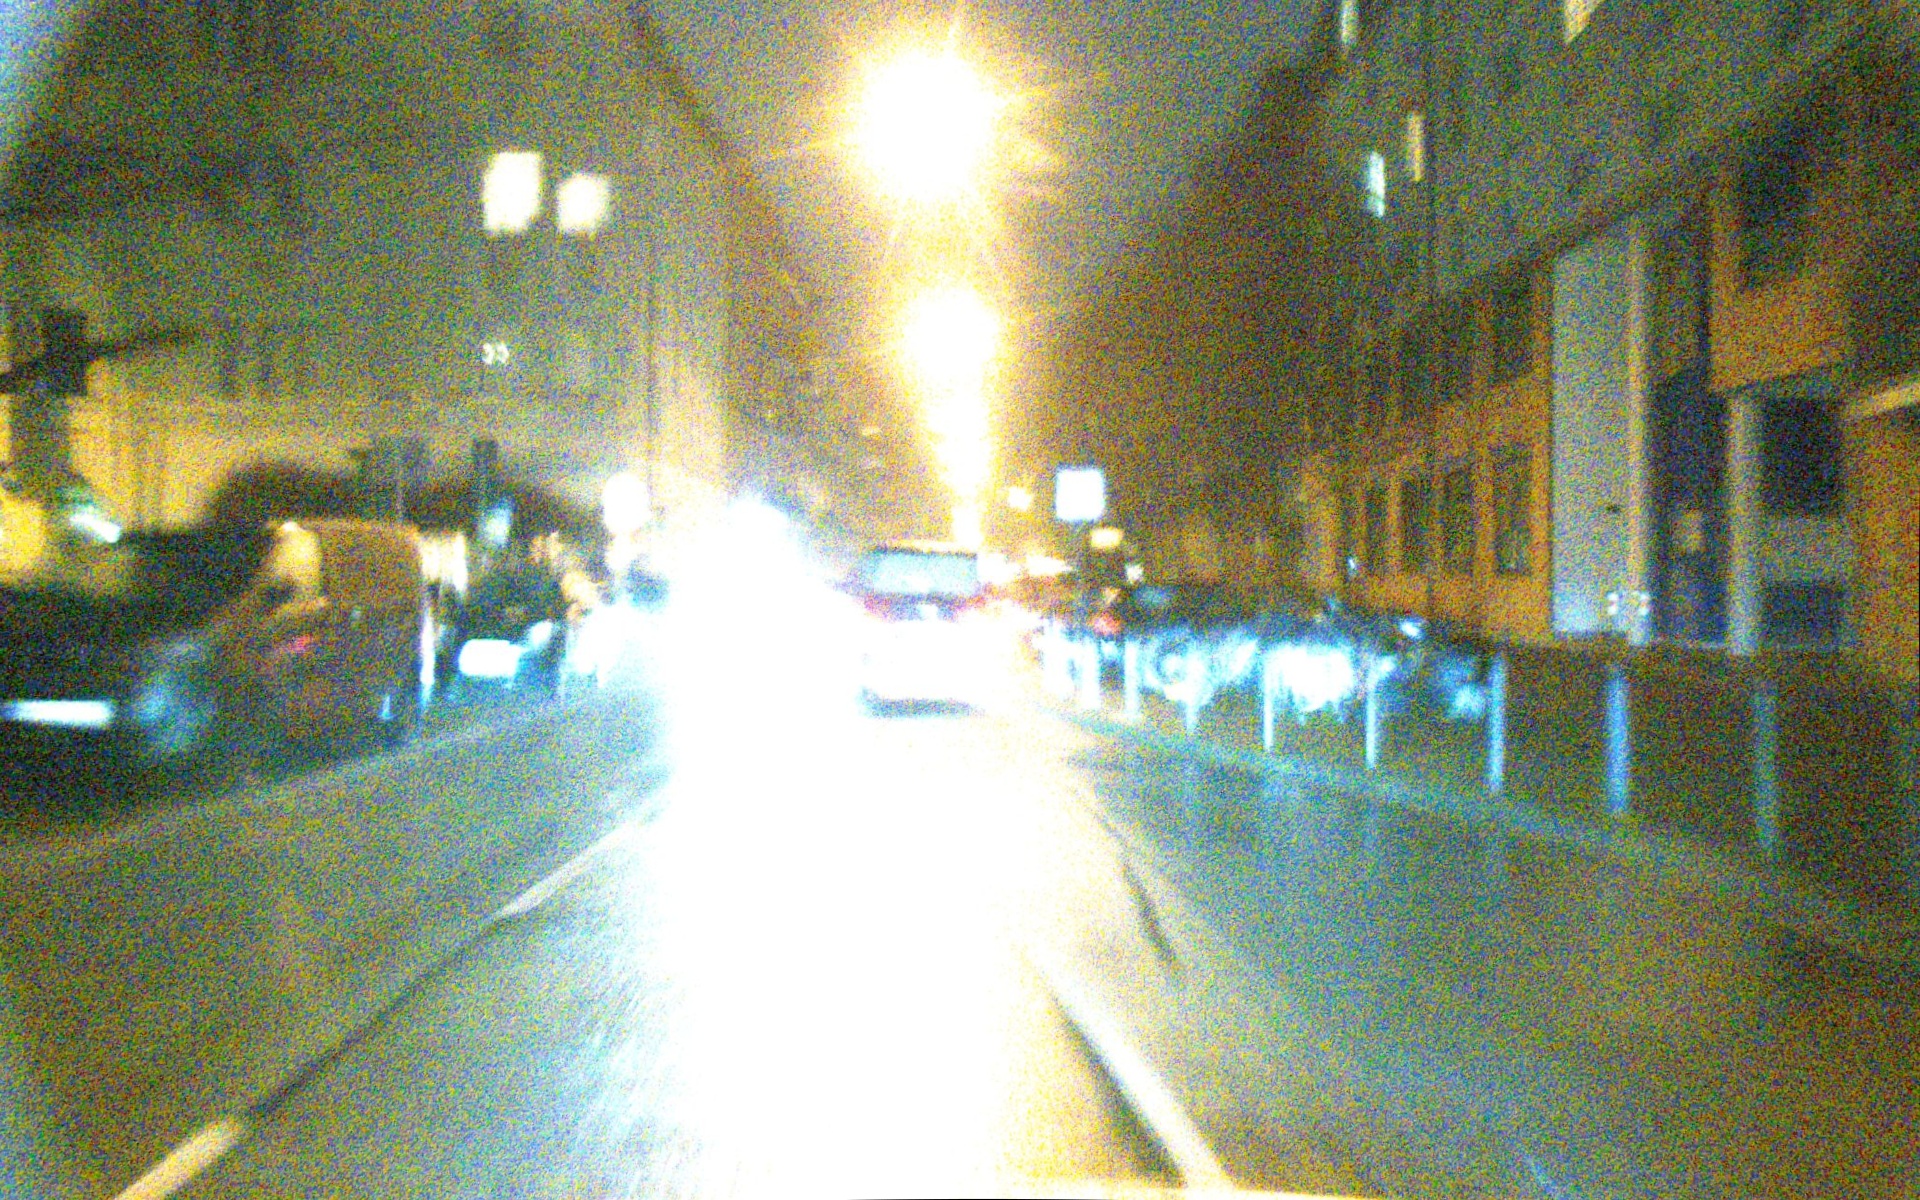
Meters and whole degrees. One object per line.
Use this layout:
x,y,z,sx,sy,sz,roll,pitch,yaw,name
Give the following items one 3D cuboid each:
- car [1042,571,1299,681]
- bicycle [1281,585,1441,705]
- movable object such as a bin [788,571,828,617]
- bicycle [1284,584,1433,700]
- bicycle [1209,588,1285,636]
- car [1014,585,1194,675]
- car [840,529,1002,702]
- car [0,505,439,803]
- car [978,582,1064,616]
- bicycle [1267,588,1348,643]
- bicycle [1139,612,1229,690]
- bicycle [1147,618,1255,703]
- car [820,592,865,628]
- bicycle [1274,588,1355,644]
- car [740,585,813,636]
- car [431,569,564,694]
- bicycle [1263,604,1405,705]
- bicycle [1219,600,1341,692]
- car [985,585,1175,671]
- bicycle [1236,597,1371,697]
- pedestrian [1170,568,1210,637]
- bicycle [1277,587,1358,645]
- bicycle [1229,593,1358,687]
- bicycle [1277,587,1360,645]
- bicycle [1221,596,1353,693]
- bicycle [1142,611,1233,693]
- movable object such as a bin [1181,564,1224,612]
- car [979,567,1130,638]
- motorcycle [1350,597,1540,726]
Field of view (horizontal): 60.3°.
3.270,0.375,25.642,3.654,1.549,1.644,-1,0,-25,car
4.325,0.482,17.896,1.629,1.255,0.385,-1,1,2,bicycle
-5.169,-0.213,56.292,1.183,1.485,1.107,2,0,2,movable object such as a bin
4.425,0.465,18.414,1.547,1.255,0.418,-1,1,2,bicycle
7.729,0.324,44.568,1.934,1.212,0.509,-2,0,-7,bicycle
2.698,0.551,30.977,2.996,1.579,1.495,2,0,-22,car
-0.467,0.198,22.397,1.953,2.086,4.000,1,0,0,car
-5.761,0.321,12.853,1.828,1.878,4.827,0,0,1,car
2.780,-0.061,75.502,3.625,1.486,1.591,-1,0,-25,car
7.816,0.339,37.205,1.653,1.166,0.540,-2,1,-8,bicycle
2.923,0.661,21.638,1.109,0.964,0.267,-2,0,-3,bicycle
2.777,0.695,19.080,1.187,0.964,0.302,1,0,-4,bicycle
-5.224,0.411,73.769,1.652,1.481,4.315,2,1,0,car
7.856,0.342,36.640,1.653,1.166,0.485,-2,1,-8,bicycle
-5.297,0.270,48.109,1.620,1.383,4.222,1,0,0,car
-6.132,0.359,22.028,1.521,1.468,3.549,3,0,-15,car
4.370,0.633,19.352,1.564,1.131,0.417,-1,1,-4,bicycle
4.241,0.610,21.999,1.561,1.178,0.540,-1,1,8,bicycle
2.472,0.574,34.113,3.504,1.639,1.702,2,0,-22,car
4.225,0.571,20.360,1.564,1.178,0.417,-1,1,-4,bicycle
6.475,0.068,46.608,0.822,1.867,0.946,-4,-1,-4,pedestrian
7.800,0.342,36.105,1.653,1.166,0.428,-2,1,-8,bicycle
4.291,0.507,21.292,1.564,1.178,0.417,-1,1,-4,bicycle
7.697,0.335,35.530,1.653,1.166,0.428,-2,1,-8,bicycle
4.109,0.555,20.796,1.564,1.178,0.417,-1,1,-4,bicycle
2.932,0.670,21.359,1.109,0.991,0.249,-2,1,-3,bicycle
7.937,-0.396,54.204,1.184,1.476,0.999,-4,0,0,movable object such as a bin
2.741,0.056,47.611,4.200,1.891,1.695,-2,0,-36,car
4.628,0.575,15.827,1.601,1.143,0.652,-2,1,-7,motorcycle
